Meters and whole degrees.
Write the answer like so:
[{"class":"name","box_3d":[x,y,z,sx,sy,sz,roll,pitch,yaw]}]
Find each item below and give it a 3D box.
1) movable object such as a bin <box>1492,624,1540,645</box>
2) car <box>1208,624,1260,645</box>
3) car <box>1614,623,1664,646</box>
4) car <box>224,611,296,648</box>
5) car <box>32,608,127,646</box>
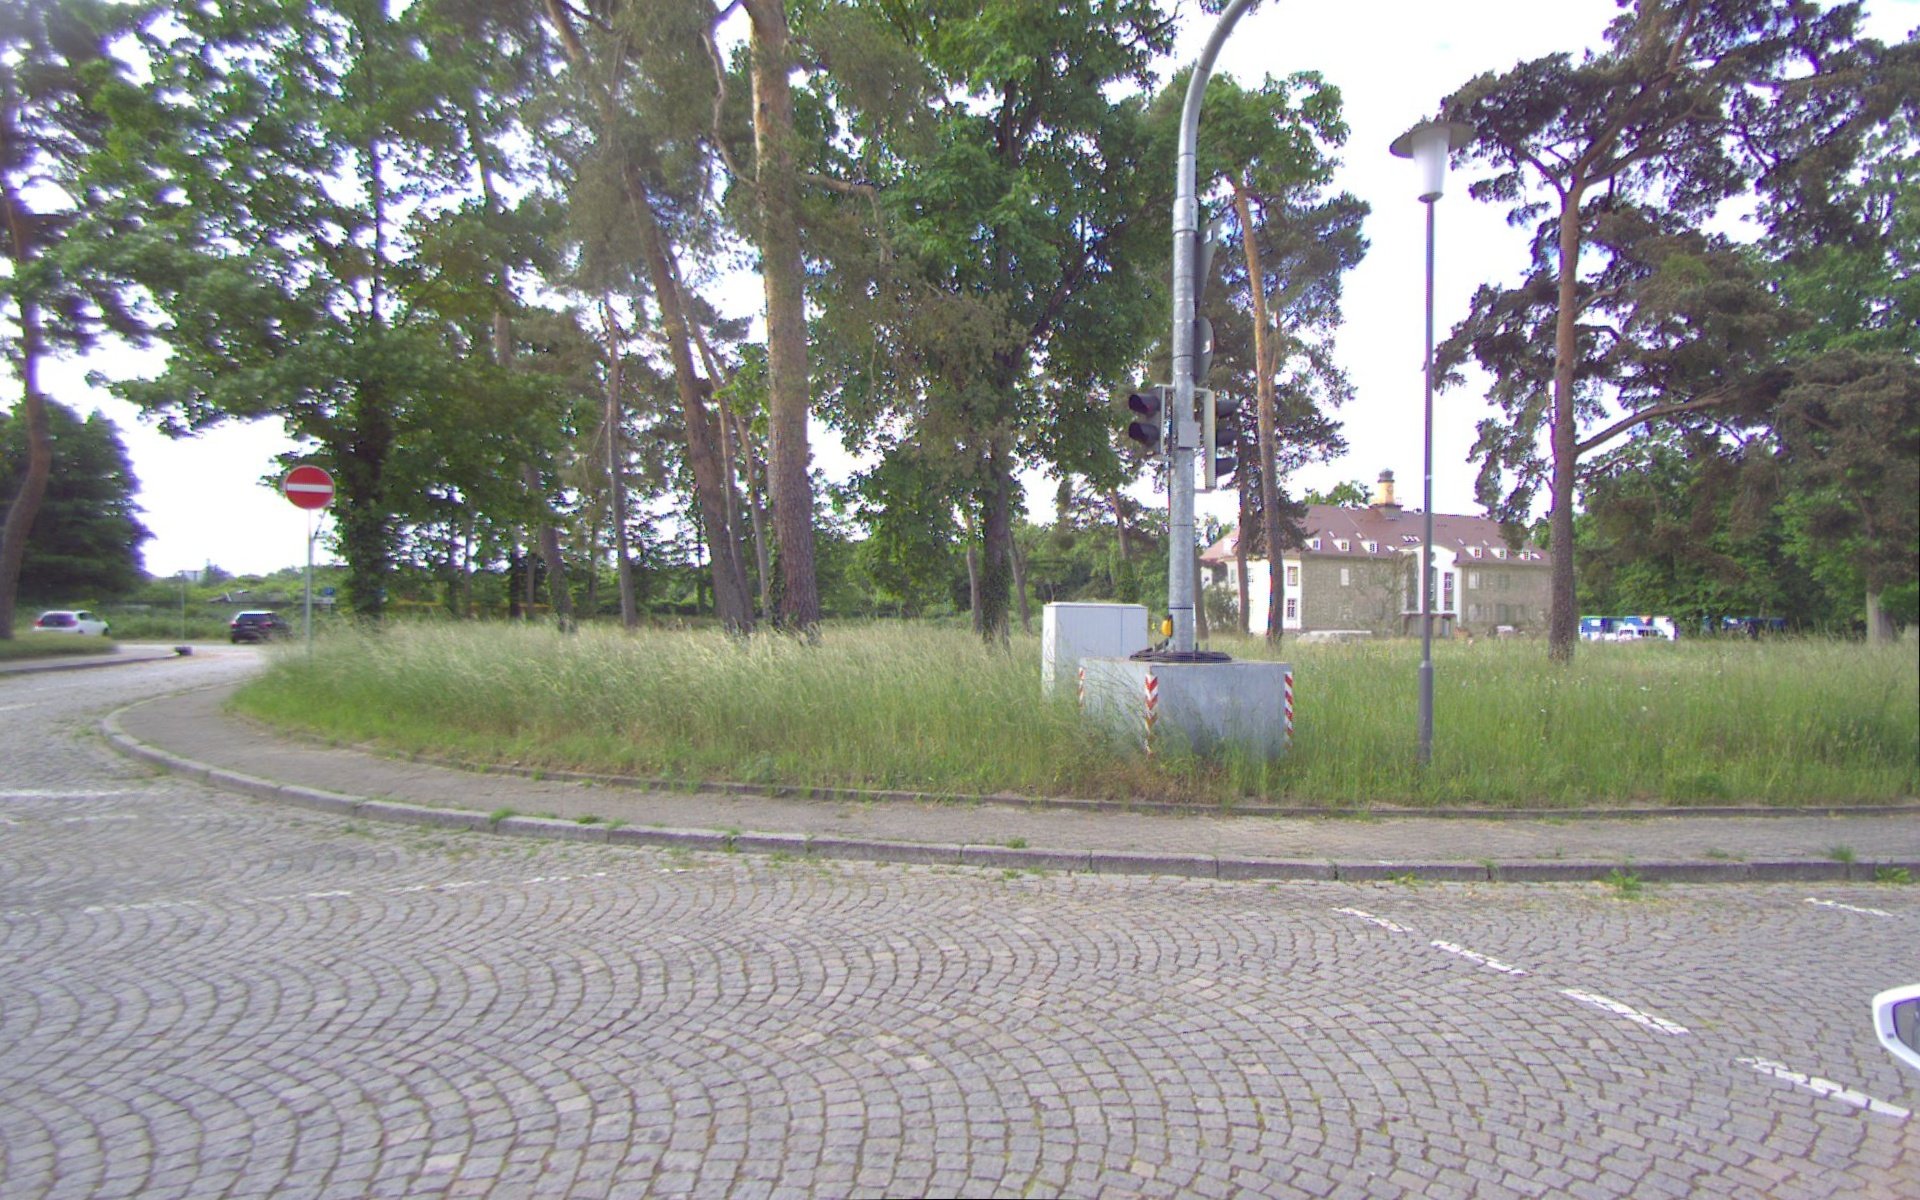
[{"class":"movable object such as a bin","box_3d":[63.779,3.940,115.342,2.341,2.283,4.508,3,-2,-15]},{"class":"car","box_3d":[31.349,3.934,114.970,2.342,2.143,5.780,3,-2,-29]},{"class":"car","box_3d":[67.799,3.475,100.337,4.281,2.122,2.059,3,-3,-21]},{"class":"car","box_3d":[-34.003,1.409,48.926,1.690,1.631,4.042,3,-1,-18]},{"class":"car","box_3d":[-41.033,1.220,46.927,1.689,1.631,4.044,3,-1,-16]}]
